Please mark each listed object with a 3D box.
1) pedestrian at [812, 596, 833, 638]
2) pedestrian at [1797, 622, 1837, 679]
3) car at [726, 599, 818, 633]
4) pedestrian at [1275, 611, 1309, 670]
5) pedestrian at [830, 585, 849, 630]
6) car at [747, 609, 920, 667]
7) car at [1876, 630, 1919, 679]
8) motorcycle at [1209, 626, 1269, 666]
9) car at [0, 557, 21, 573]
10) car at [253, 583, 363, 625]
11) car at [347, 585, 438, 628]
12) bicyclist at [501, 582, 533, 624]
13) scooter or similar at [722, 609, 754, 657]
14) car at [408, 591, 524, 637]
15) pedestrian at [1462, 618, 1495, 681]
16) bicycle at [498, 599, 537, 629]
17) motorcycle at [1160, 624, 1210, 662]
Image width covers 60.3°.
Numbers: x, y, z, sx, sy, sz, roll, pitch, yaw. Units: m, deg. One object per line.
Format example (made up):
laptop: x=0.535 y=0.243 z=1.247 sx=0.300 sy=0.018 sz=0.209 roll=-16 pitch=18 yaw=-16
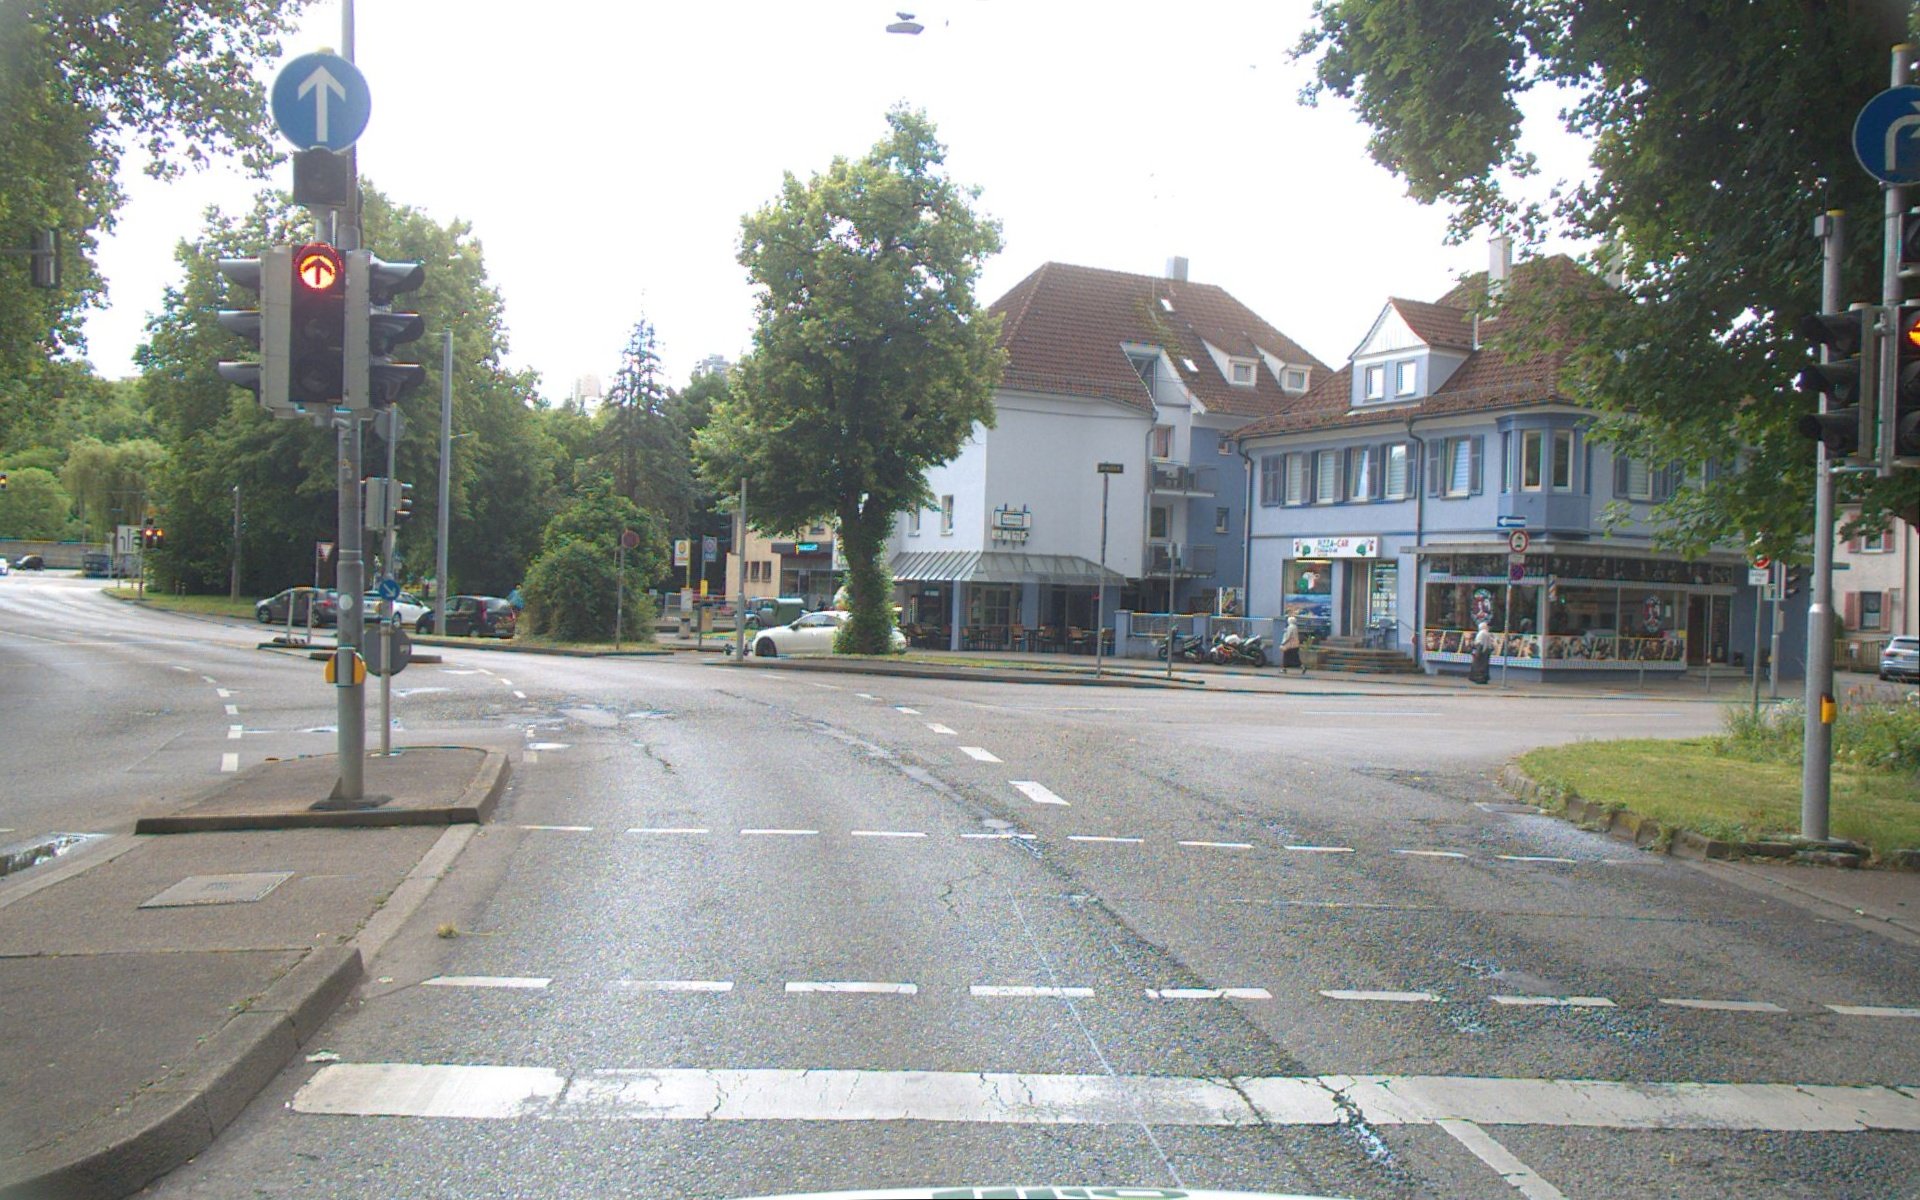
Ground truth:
pedestrian: x=-6.714 y=0.830 z=80.537 sx=0.823 sy=2.049 sz=1.052 roll=1 pitch=0 yaw=-15
pedestrian: x=24.021 y=1.410 z=46.366 sx=0.659 sy=1.587 sz=0.743 roll=1 pitch=-1 yaw=-15
car: x=-8.574 y=0.737 z=75.478 sx=3.880 sy=1.467 sz=1.742 roll=1 pitch=0 yaw=-21
pedestrian: x=9.202 y=1.116 z=45.848 sx=0.717 sy=1.587 sz=0.767 roll=0 pitch=-1 yaw=30
pedestrian: x=-4.298 y=0.273 z=59.088 sx=0.531 sy=1.587 sz=0.468 roll=0 pitch=-1 yaw=13
car: x=-3.528 y=1.024 z=45.681 sx=4.618 sy=1.435 sz=1.896 roll=1 pitch=0 yaw=35
car: x=29.703 y=1.690 z=51.685 sx=1.849 sy=1.415 sz=3.608 roll=1 pitch=0 yaw=28
motorcycle: x=8.172 y=1.341 z=48.457 sx=1.595 sy=1.107 sz=0.625 roll=1 pitch=0 yaw=32
car: x=-88.749 y=-3.261 z=153.847 sx=2.970 sy=1.442 sz=1.492 roll=0 pitch=-2 yaw=40
car: x=-25.002 y=0.156 z=63.421 sx=3.695 sy=1.491 sz=1.622 roll=1 pitch=0 yaw=18
car: x=-22.726 y=0.262 z=66.403 sx=1.821 sy=1.668 sz=3.757 roll=1 pitch=0 yaw=10
bicyclist: x=-17.923 y=0.116 z=66.953 sx=0.896 sy=1.680 sz=0.989 roll=1 pitch=0 yaw=7
scooter or similar: x=-5.697 y=0.832 z=42.506 sx=0.433 sy=1.195 sz=1.439 roll=1 pitch=0 yaw=8
car: x=-15.909 y=0.450 z=53.262 sx=3.252 sy=1.376 sz=1.778 roll=1 pitch=0 yaw=27
pedestrian: x=13.438 y=1.275 z=42.876 sx=0.681 sy=1.587 sz=0.665 roll=0 pitch=-1 yaw=30
bicycle: x=-17.933 y=0.558 z=67.004 sx=0.855 sy=1.169 sz=1.954 roll=1 pitch=0 yaw=6
motorcycle: x=6.819 y=1.290 z=50.207 sx=1.430 sy=1.107 sz=0.522 roll=1 pitch=0 yaw=35
